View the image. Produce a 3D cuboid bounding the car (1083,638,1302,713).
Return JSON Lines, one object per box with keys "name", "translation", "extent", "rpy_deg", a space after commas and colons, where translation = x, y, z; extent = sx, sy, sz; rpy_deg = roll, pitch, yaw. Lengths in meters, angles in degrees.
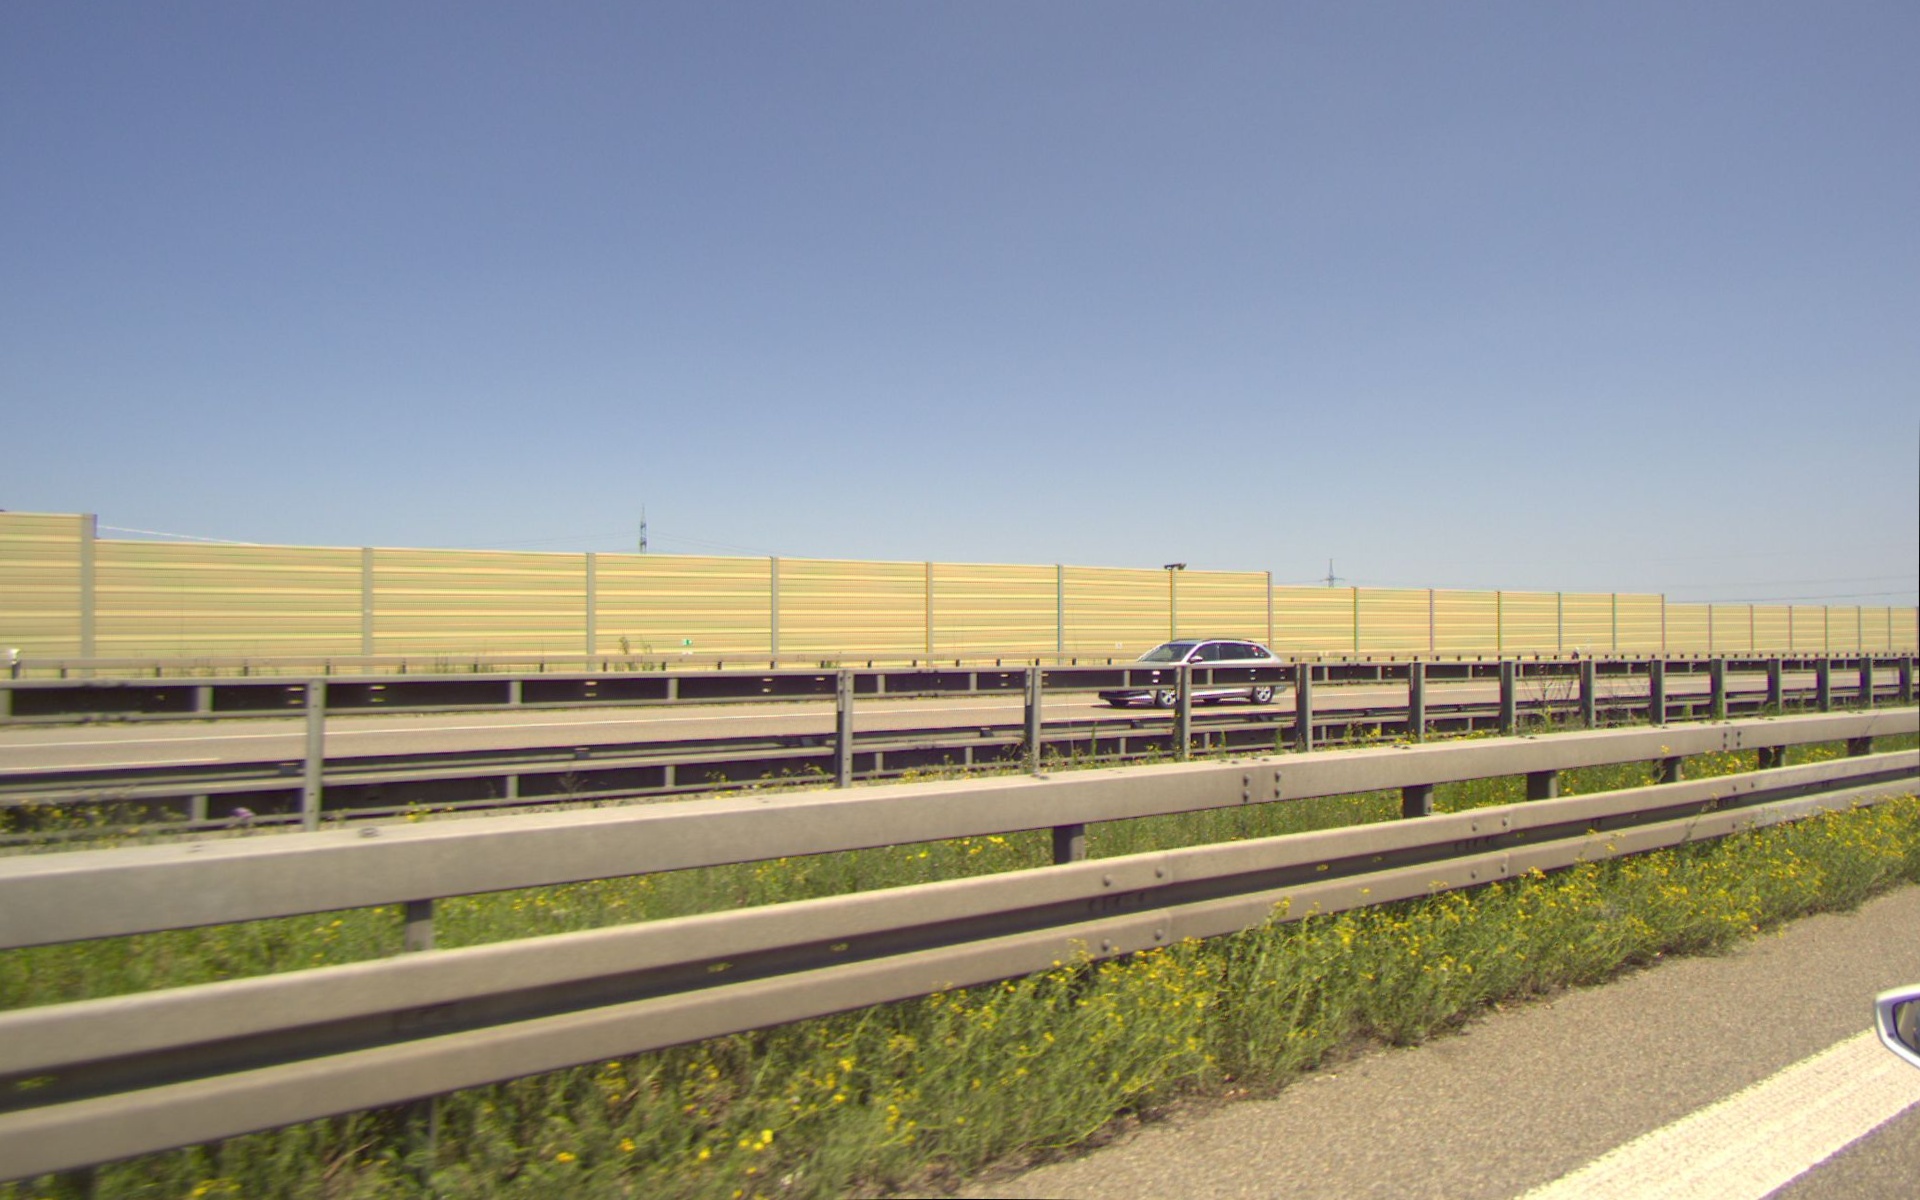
{"name": "car", "translation": [5.253, 1.629, 22.528], "extent": [4.757, 1.483, 1.984], "rpy_deg": [2, -2, -31]}
